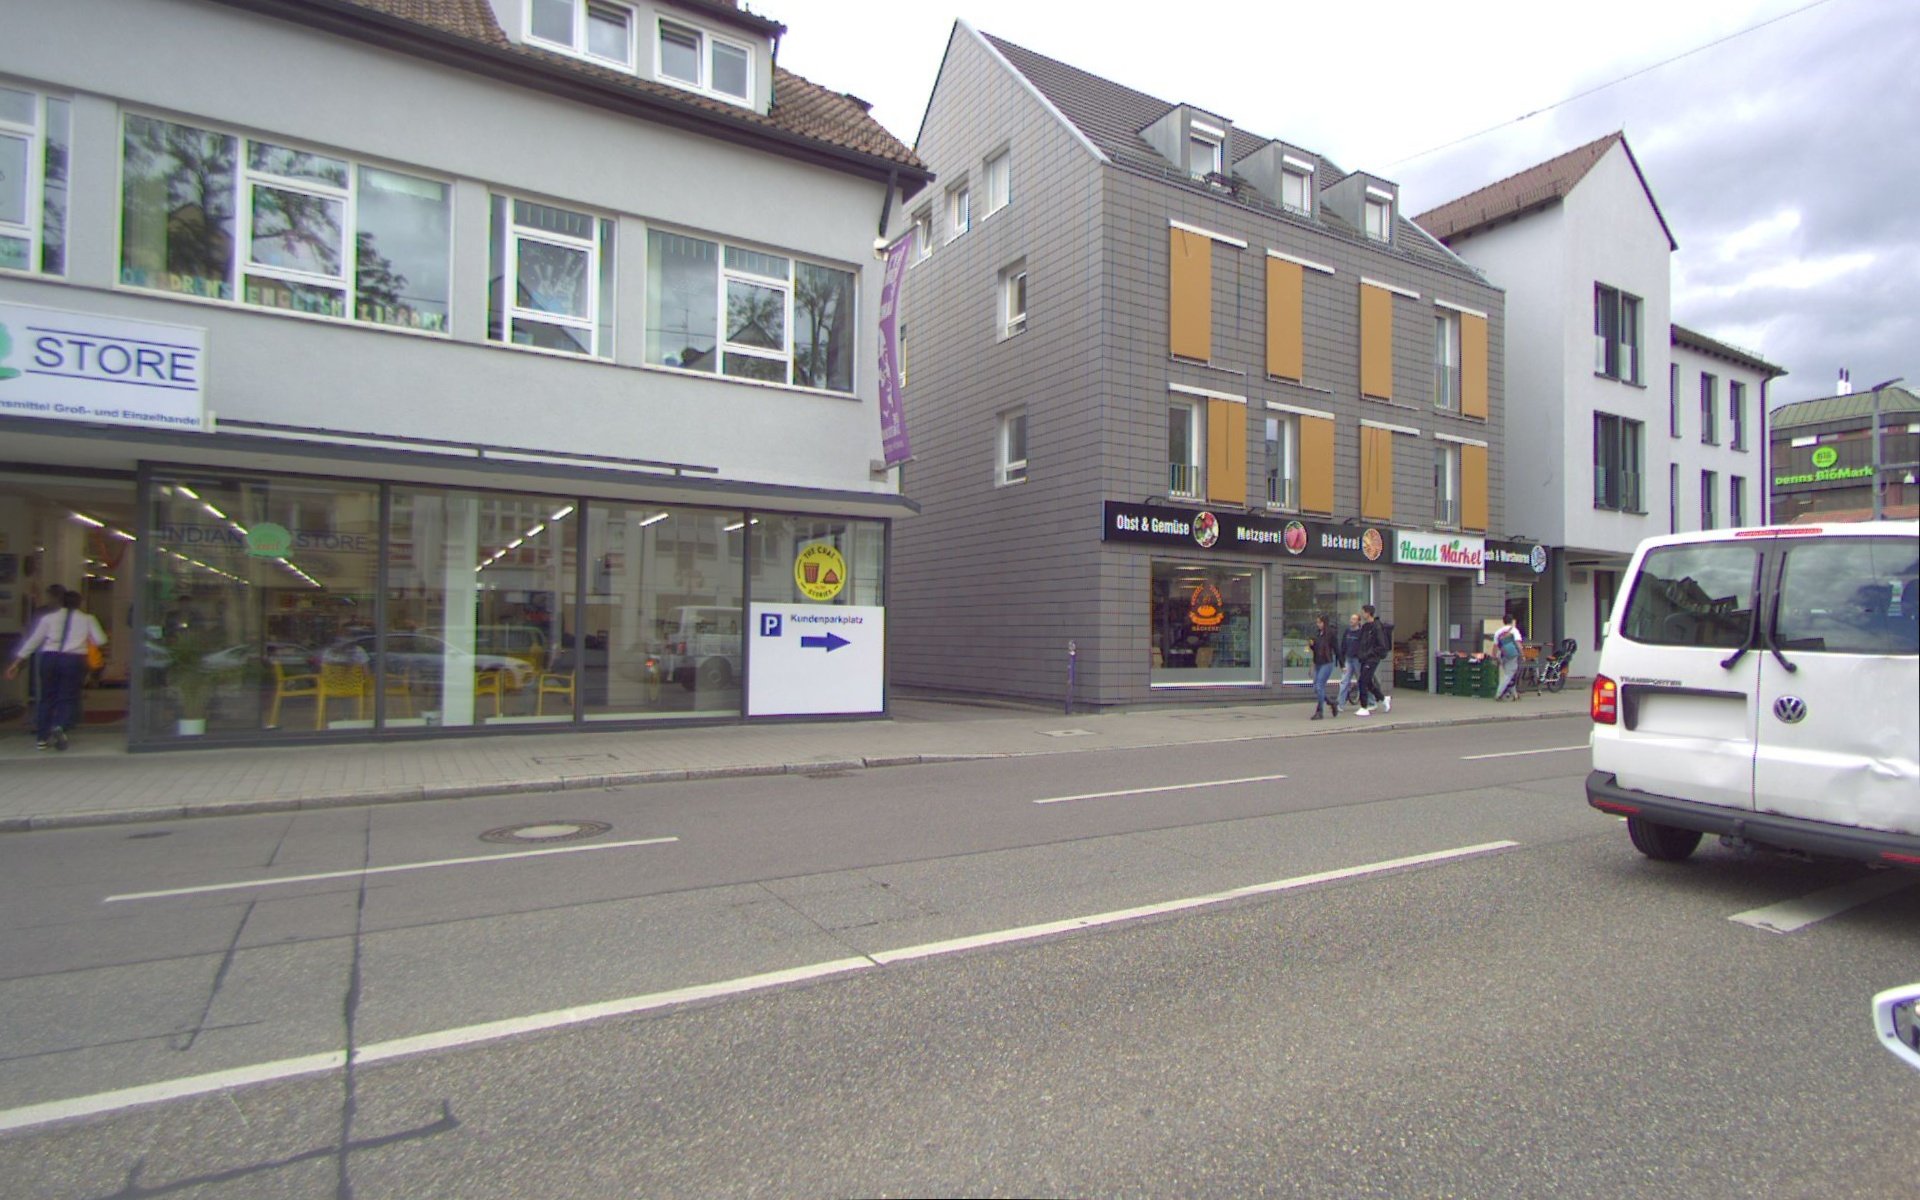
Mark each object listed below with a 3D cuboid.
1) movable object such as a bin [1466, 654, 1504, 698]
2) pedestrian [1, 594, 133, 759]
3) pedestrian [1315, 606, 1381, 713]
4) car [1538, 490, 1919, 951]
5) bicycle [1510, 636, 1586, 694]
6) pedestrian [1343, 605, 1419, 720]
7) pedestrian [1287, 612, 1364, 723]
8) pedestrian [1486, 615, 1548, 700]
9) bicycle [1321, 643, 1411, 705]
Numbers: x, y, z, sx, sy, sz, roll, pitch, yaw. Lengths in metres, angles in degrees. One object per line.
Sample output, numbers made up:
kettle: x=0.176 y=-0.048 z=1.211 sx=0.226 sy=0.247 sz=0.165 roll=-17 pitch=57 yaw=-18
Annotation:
movable object such as a bin: x=11.173 y=1.607 z=21.372 sx=0.501 sy=0.911 sz=0.548 roll=1 pitch=-1 yaw=-32
pedestrian: x=-9.162 y=0.761 z=10.317 sx=0.713 sy=1.601 sz=0.846 roll=-1 pitch=-1 yaw=34
pedestrian: x=6.787 y=1.028 z=17.575 sx=0.859 sy=1.805 sz=0.704 roll=1 pitch=-1 yaw=-29
car: x=5.972 y=0.570 z=6.266 sx=4.783 sy=2.040 sz=1.984 roll=1 pitch=0 yaw=-30
bicycle: x=13.340 y=1.449 z=22.779 sx=2.095 sy=1.248 sz=0.579 roll=1 pitch=-1 yaw=-32
pedestrian: x=7.078 y=1.038 z=16.893 sx=1.015 sy=1.863 sz=0.704 roll=1 pitch=-1 yaw=-29
pedestrian: x=5.899 y=1.068 z=16.233 sx=0.859 sy=1.720 sz=0.800 roll=1 pitch=-1 yaw=-29
pedestrian: x=11.178 y=1.139 z=20.196 sx=0.952 sy=1.665 sz=0.890 roll=0 pitch=-1 yaw=20
bicycle: x=7.766 y=1.399 z=19.193 sx=1.880 sy=1.115 sz=0.569 roll=1 pitch=-1 yaw=-30
